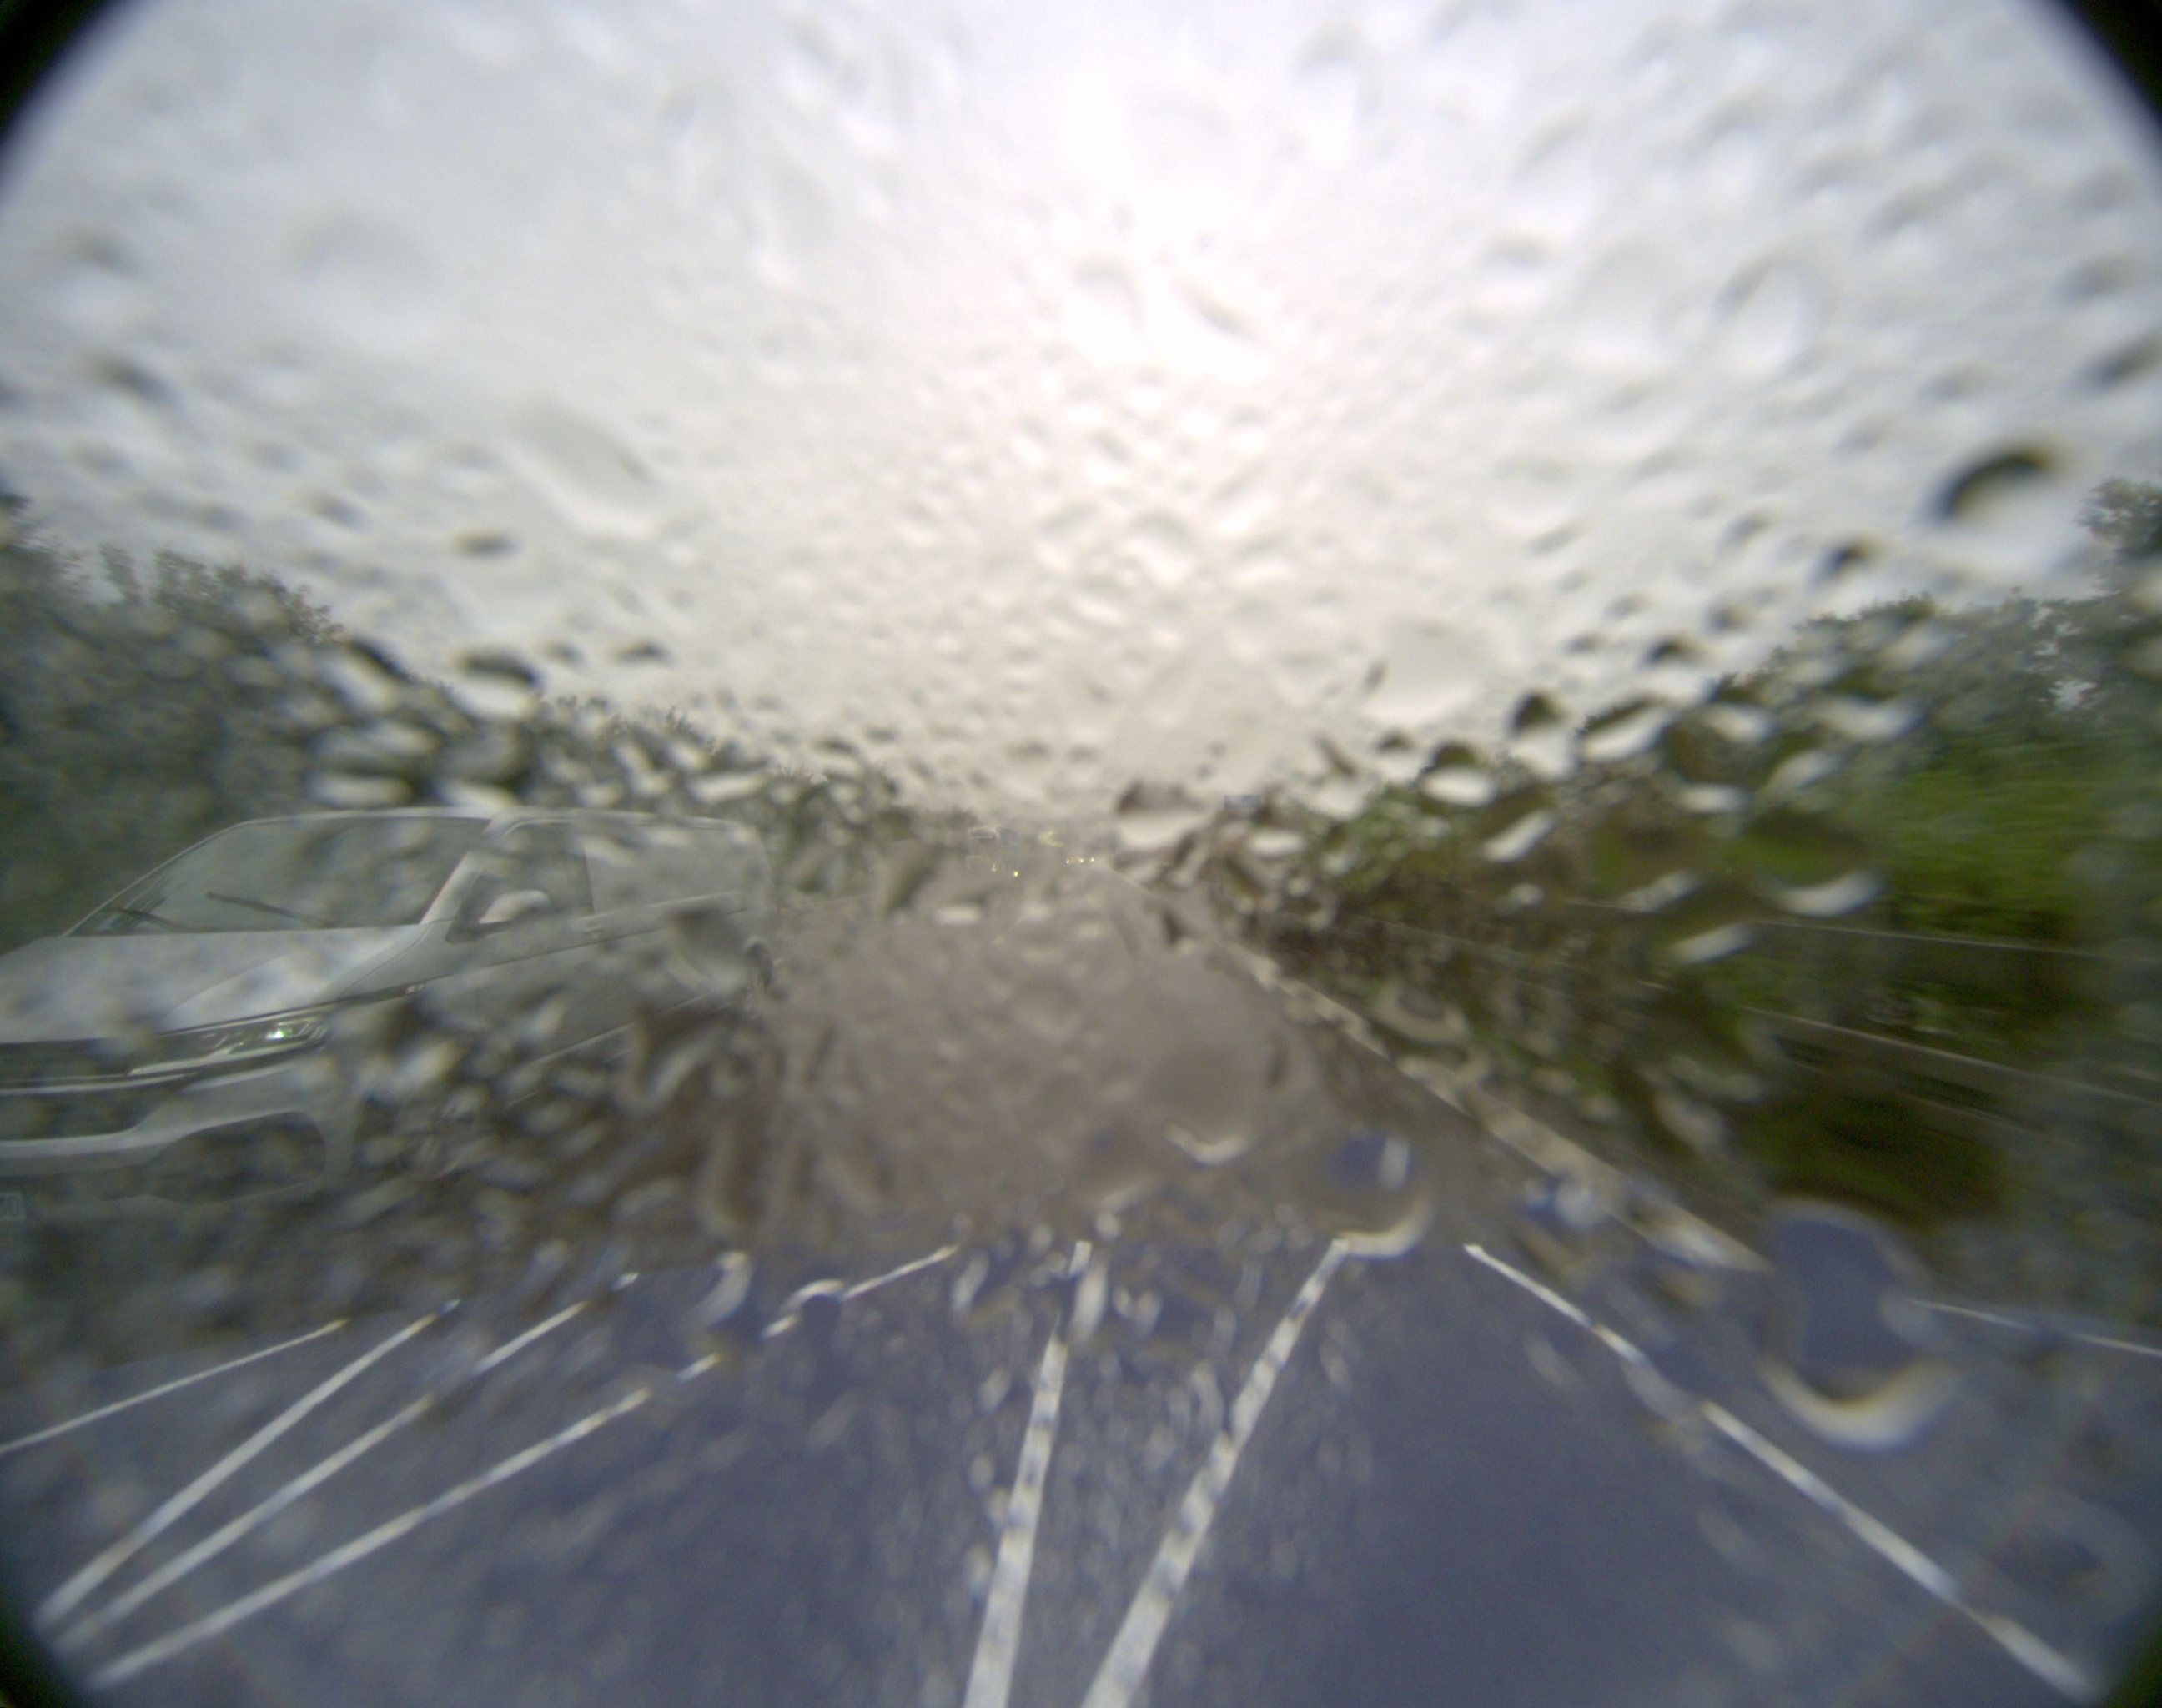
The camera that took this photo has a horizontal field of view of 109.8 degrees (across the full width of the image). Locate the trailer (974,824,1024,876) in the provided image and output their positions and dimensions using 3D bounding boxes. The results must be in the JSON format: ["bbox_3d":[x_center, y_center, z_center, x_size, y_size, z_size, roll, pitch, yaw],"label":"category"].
[{"bbox_3d":[-6.994,-0.338,66.998,2.618,4.064,13.790,-1,0,1],"label":"trailer"}]

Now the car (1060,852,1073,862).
[{"bbox_3d":[-2.234,0.481,116.393,1.769,1.448,3.959,-1,0,1],"label":"car"}]

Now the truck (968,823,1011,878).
[{"bbox_3d":[-7.096,-0.266,59.501,2.618,4.064,5.238,-1,1,1],"label":"truck"}]

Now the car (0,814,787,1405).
[{"bbox_3d":[-3.871,0.811,4.913,1.892,1.873,5.009,-1,0,1],"label":"car"}]

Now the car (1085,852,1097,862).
[{"bbox_3d":[1.577,0.389,116.514,1.769,1.448,3.959,-1,0,1],"label":"car"}]

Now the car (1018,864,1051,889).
[{"bbox_3d":[-2.955,1.410,49.050,1.769,1.448,3.959,-1,0,1],"label":"car"}]
